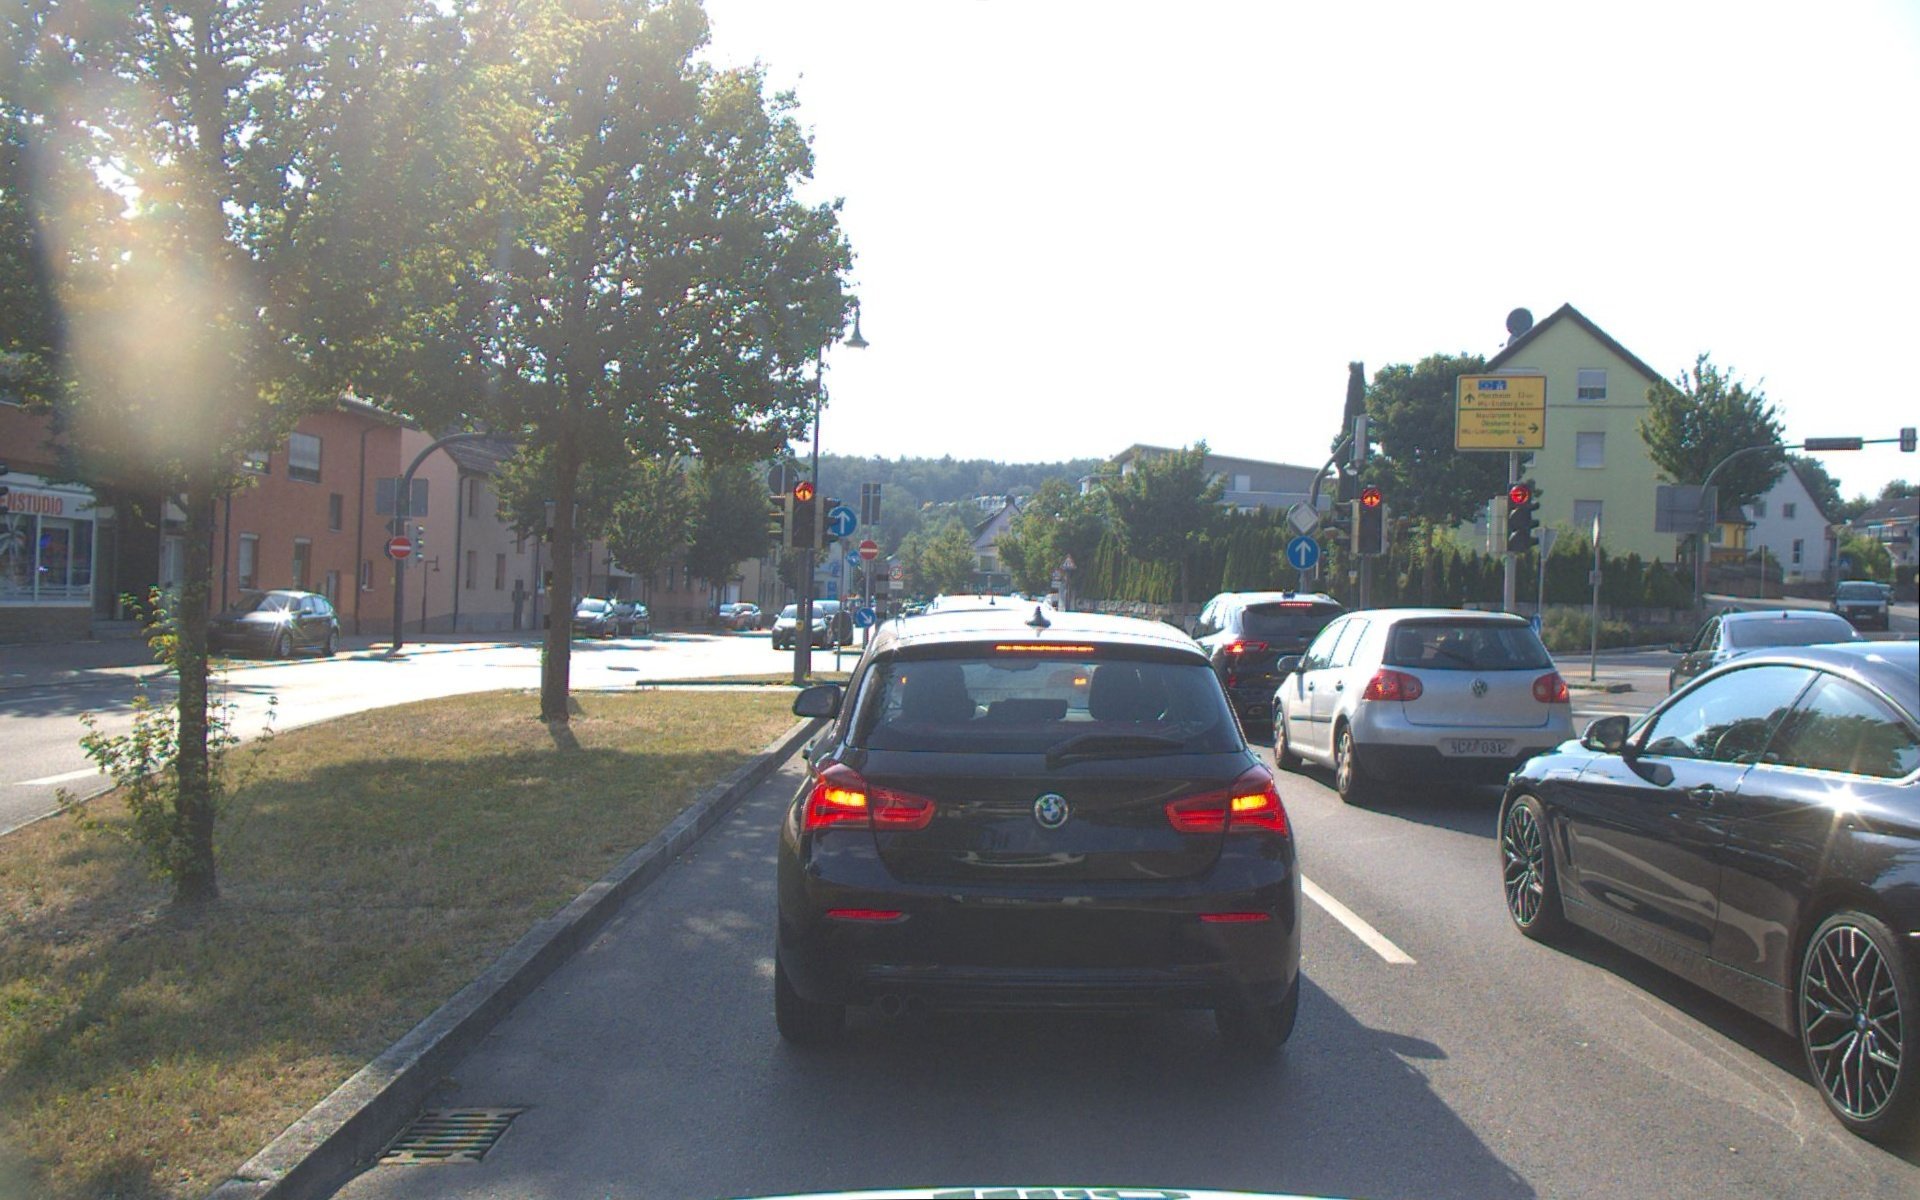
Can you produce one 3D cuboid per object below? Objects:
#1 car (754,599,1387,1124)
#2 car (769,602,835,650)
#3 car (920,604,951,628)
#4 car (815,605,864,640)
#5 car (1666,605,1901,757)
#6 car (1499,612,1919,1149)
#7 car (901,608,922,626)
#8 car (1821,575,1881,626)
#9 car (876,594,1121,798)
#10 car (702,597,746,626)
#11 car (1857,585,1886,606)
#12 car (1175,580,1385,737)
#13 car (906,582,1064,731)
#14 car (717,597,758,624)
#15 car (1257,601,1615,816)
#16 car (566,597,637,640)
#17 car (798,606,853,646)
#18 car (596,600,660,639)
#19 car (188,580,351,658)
[{"bbox_3d":[0.338,0.729,6.803,1.754,1.439,4.347,1,0,1],"label":"car"},{"bbox_3d":[-5.185,0.840,54.691,1.730,1.484,4.000,1,0,1],"label":"car"},{"bbox_3d":[-1.773,1.143,119.672,1.854,1.732,4.518,0,0,-6],"label":"car"},{"bbox_3d":[-5.003,0.932,69.128,1.658,1.377,4.000,1,0,1],"label":"car"},{"bbox_3d":[9.074,0.798,18.581,1.646,1.460,4.592,1,0,17],"label":"car"},{"bbox_3d":[3.503,0.783,5.900,1.779,1.413,4.347,1,0,1],"label":"car"},{"bbox_3d":[-4.585,1.551,155.306,1.885,1.624,3.999,1,0,-1],"label":"car"},{"bbox_3d":[31.129,-0.009,57.731,1.752,1.533,4.064,-2,2,29],"label":"car"},{"bbox_3d":[0.311,0.703,14.285,1.779,1.476,4.242,1,0,1],"label":"car"},{"bbox_3d":[-13.820,0.642,97.073,1.884,1.624,4.000,1,0,1],"label":"car"},{"bbox_3d":[64.662,-0.330,117.304,1.679,1.265,3.993,1,4,31],"label":"car"},{"bbox_3d":[3.794,0.638,20.319,1.779,1.695,4.347,1,0,1],"label":"car"},{"bbox_3d":[0.315,0.639,20.981,1.779,1.670,4.242,1,0,1],"label":"car"},{"bbox_3d":[-13.774,0.630,102.579,1.884,1.624,4.000,1,0,1],"label":"car"},{"bbox_3d":[3.736,0.765,13.805,1.779,1.471,4.347,1,0,1],"label":"car"},{"bbox_3d":[-14.466,0.719,66.928,1.884,1.624,4.000,1,0,1],"label":"car"},{"bbox_3d":[-5.008,0.948,62.108,1.658,1.377,4.000,1,0,1],"label":"car"},{"bbox_3d":[-14.346,0.828,71.702,1.884,1.624,4.000,1,0,1],"label":"car"},{"bbox_3d":[-15.465,0.401,37.261,1.805,1.579,4.001,3,0,2],"label":"car"}]
